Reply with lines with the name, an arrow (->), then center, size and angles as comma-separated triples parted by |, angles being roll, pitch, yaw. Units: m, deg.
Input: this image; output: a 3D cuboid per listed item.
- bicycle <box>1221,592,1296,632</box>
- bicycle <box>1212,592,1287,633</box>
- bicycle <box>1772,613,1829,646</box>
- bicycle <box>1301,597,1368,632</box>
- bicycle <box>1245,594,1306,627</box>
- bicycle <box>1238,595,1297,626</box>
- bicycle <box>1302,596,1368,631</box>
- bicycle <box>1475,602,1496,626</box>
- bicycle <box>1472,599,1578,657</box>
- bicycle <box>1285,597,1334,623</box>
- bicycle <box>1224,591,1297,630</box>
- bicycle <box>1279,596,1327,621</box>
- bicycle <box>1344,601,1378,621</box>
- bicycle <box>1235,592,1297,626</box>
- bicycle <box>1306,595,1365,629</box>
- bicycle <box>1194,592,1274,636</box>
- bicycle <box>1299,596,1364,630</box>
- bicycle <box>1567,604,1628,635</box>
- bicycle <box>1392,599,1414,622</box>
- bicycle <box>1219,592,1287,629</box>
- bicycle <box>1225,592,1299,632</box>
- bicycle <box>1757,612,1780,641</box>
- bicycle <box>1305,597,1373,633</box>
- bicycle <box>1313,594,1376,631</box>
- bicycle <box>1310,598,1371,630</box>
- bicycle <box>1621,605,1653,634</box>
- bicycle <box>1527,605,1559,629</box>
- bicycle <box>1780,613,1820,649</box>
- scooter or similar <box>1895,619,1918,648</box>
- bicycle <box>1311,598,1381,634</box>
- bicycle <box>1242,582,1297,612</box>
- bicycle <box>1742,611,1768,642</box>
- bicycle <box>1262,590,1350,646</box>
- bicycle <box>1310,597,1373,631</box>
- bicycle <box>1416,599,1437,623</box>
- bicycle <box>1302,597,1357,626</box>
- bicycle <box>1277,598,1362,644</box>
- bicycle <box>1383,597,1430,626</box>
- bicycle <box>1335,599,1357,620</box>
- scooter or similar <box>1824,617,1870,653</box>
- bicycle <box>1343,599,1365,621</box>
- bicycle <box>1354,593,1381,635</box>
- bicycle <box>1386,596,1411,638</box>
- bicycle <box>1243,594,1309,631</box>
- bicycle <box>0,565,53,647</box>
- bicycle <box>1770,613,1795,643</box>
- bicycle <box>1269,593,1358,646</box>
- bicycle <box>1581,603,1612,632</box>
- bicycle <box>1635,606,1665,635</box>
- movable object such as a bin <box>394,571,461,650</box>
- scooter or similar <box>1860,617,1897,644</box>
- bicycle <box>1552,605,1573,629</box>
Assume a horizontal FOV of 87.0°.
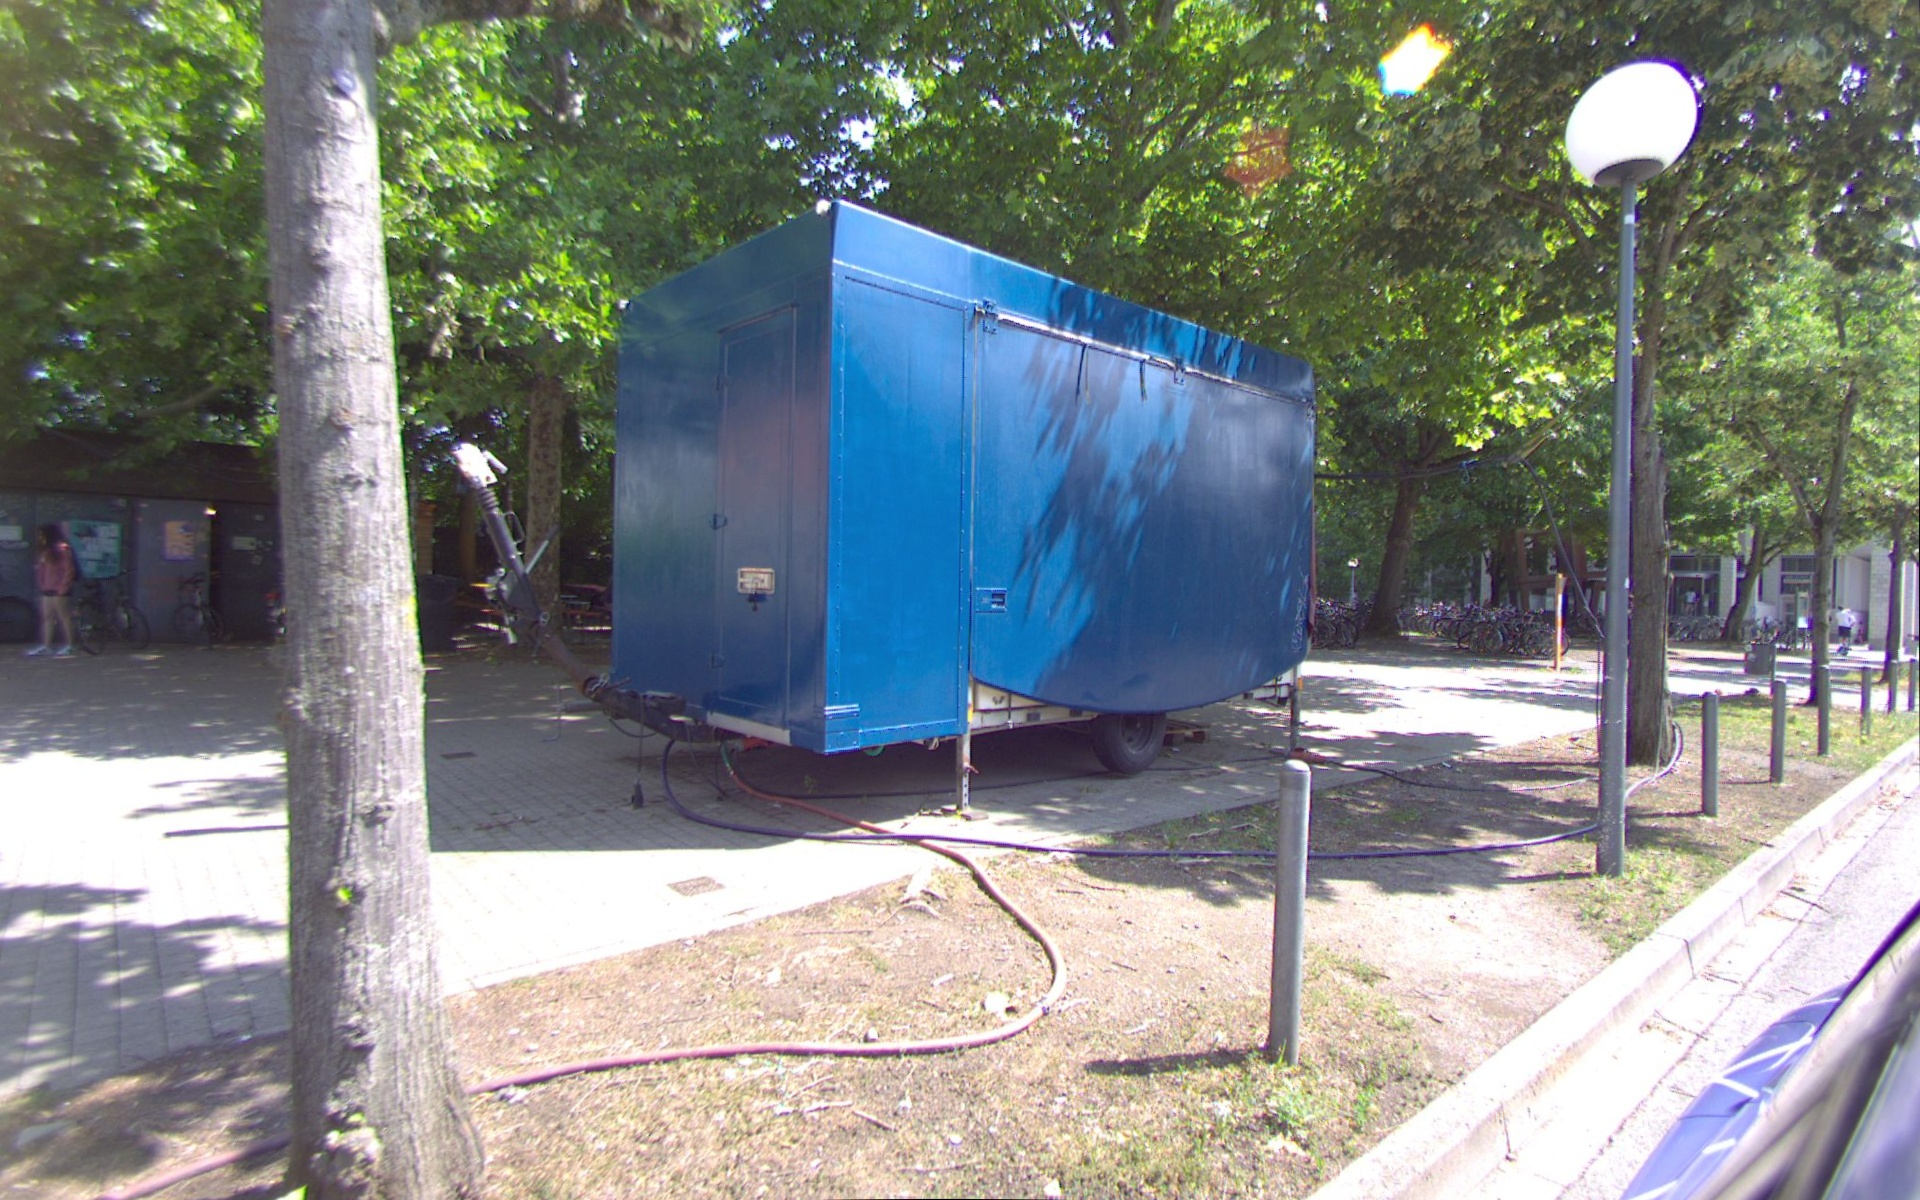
bicycle -> 8.211, 0.323, 27.881 | 1.885, 0.991, 0.474 | 4, 2, 26
bicycle -> 7.807, 0.324, 27.330 | 1.886, 0.991, 0.417 | 4, 2, 27
bicycle -> 32.476, 1.124, 39.117 | 1.749, 1.155, 0.607 | 3, 2, -9
bicycle -> 11.807, 0.451, 31.916 | 1.872, 0.991, 0.477 | 3, 1, 9
bicycle -> 10.704, 0.351, 34.379 | 1.873, 0.991, 0.377 | 3, 1, 10
bicycle -> 10.793, 0.365, 35.544 | 1.873, 0.991, 0.477 | 3, 1, 10
bicycle -> 11.989, 0.427, 32.421 | 1.872, 0.991, 0.478 | 3, 1, 8
bicycle -> 25.389, 0.681, 48.876 | 0.453, 1.144, 1.661 | -1, -3, 43
bicycle -> 12.795, 0.607, 22.955 | 2.010, 1.181, 0.643 | 3, 1, 37
bicycle -> 14.886, 0.426, 43.118 | 1.871, 0.991, 0.478 | 3, 1, 6
bicycle -> 8.654, 0.300, 29.165 | 1.886, 0.991, 0.607 | 4, 2, 27
bicycle -> 15.037, 0.384, 44.351 | 1.871, 0.991, 0.478 | 3, 1, 6
bicycle -> 24.226, 0.682, 61.192 | 0.561, 1.117, 1.830 | 4, -1, -43
bicycle -> 9.874, 0.290, 32.670 | 1.863, 0.991, 0.304 | 3, 2, 22
bicycle -> 13.358, 0.406, 36.068 | 1.875, 1.096, 0.477 | 3, 1, 13
bicycle -> 6.962, 0.342, 25.750 | 1.881, 0.991, 0.418 | 3, 2, 21
bicycle -> 12.039, 0.409, 32.819 | 1.872, 0.991, 0.478 | 3, 1, 8
bicycle -> 24.985, 0.758, 39.686 | 1.895, 1.123, 0.630 | 2, 1, 12
bicycle -> 22.454, 0.545, 51.287 | 0.453, 1.144, 1.661 | -1, -3, 43
bicycle -> 8.729, 0.314, 30.228 | 1.877, 0.991, 0.534 | 3, 1, 15
bicycle -> 8.408, 0.320, 28.199 | 1.885, 0.991, 0.474 | 4, 2, 26
bicycle -> 37.348, 1.224, 46.757 | 1.799, 1.257, 0.531 | 0, 2, -43
bicycle -> 11.714, 0.464, 31.310 | 1.868, 0.991, 0.479 | 3, 1, 1
bicycle -> 12.967, 0.414, 34.152 | 1.875, 1.096, 0.477 | 3, 1, 13
bicycle -> 13.110, 0.487, 34.892 | 1.873, 0.991, 0.477 | 3, 1, 10
bicycle -> 29.481, 0.849, 44.039 | 1.664, 1.139, 0.566 | 4, 1, -37
bicycle -> 26.889, 0.768, 46.683 | 1.663, 1.061, 0.618 | 2, -2, -34
bicycle -> 28.956, 1.051, 34.906 | 0.622, 1.097, 1.674 | 0, 2, 25
scooter or similar -> 41.855, 1.476, 44.749 | 1.485, 1.226, 0.564 | 1, 3, -43
bicycle -> 11.708, 0.483, 30.734 | 1.868, 0.991, 0.479 | 3, 1, 1
bicycle -> 11.256, -0.119, 36.800 | 1.880, 0.991, 0.376 | 3, 1, 19
bicycle -> 32.179, 1.085, 40.967 | 1.465, 1.155, 0.560 | 3, 1, -44
bicycle -> 7.862, 0.389, 23.000 | 1.792, 1.132, 0.607 | 4, 2, 27
bicycle -> 12.660, 0.449, 33.621 | 1.880, 0.991, 0.476 | 3, 2, 19
bicycle -> 23.288, 0.539, 50.538 | 0.453, 1.144, 1.661 | -1, -3, 43
bicycle -> 13.951, 0.421, 38.213 | 1.880, 0.991, 0.376 | 3, 1, 19
bicycle -> 8.904, 0.505, 25.109 | 1.886, 0.991, 0.607 | 4, 2, 27
bicycle -> 19.700, 0.482, 44.678 | 1.818, 1.185, 0.434 | 3, 0, 14
bicycle -> 20.642, 0.517, 54.113 | 0.477, 1.098, 1.661 | -1, -3, 43
scooter or similar -> 30.104, 1.199, 34.343 | 1.333, 1.128, 0.498 | 4, 0, -17
bicycle -> 20.841, 0.545, 53.526 | 0.477, 1.098, 1.661 | -1, -3, 44
bicycle -> 11.454, 0.369, 28.411 | 0.474, 1.096, 1.885 | 3, 2, 27
bicycle -> 12.209, 0.441, 28.149 | 0.474, 1.096, 1.885 | 3, 2, 27
bicycle -> 9.734, 0.376, 31.163 | 1.880, 0.991, 0.476 | 3, 2, 19
bicycle -> -14.044, 0.077, 14.161 | 1.991, 1.154, 0.574 | 1, 0, -42
bicycle -> 32.601, 1.098, 40.100 | 1.465, 1.155, 0.560 | 1, 3, -44
bicycle -> 8.393, 0.442, 24.018 | 1.886, 1.132, 0.607 | 4, 2, 27
bicycle -> 28.417, 0.777, 45.162 | 1.666, 1.164, 0.627 | 4, 1, -40
bicycle -> 29.693, 0.877, 43.552 | 1.664, 1.139, 0.482 | 4, 1, -37
movable object such as a bin -> -7.570, 0.136, 14.391 | 0.729, 1.084, 0.600 | -1, 2, -41
scooter or similar -> 46.397, 1.529, 51.132 | 0.555, 1.226, 1.508 | 1, 2, 8
bicycle -> 27.447, 0.769, 46.095 | 0.566, 1.061, 1.671 | -1, -2, 40
